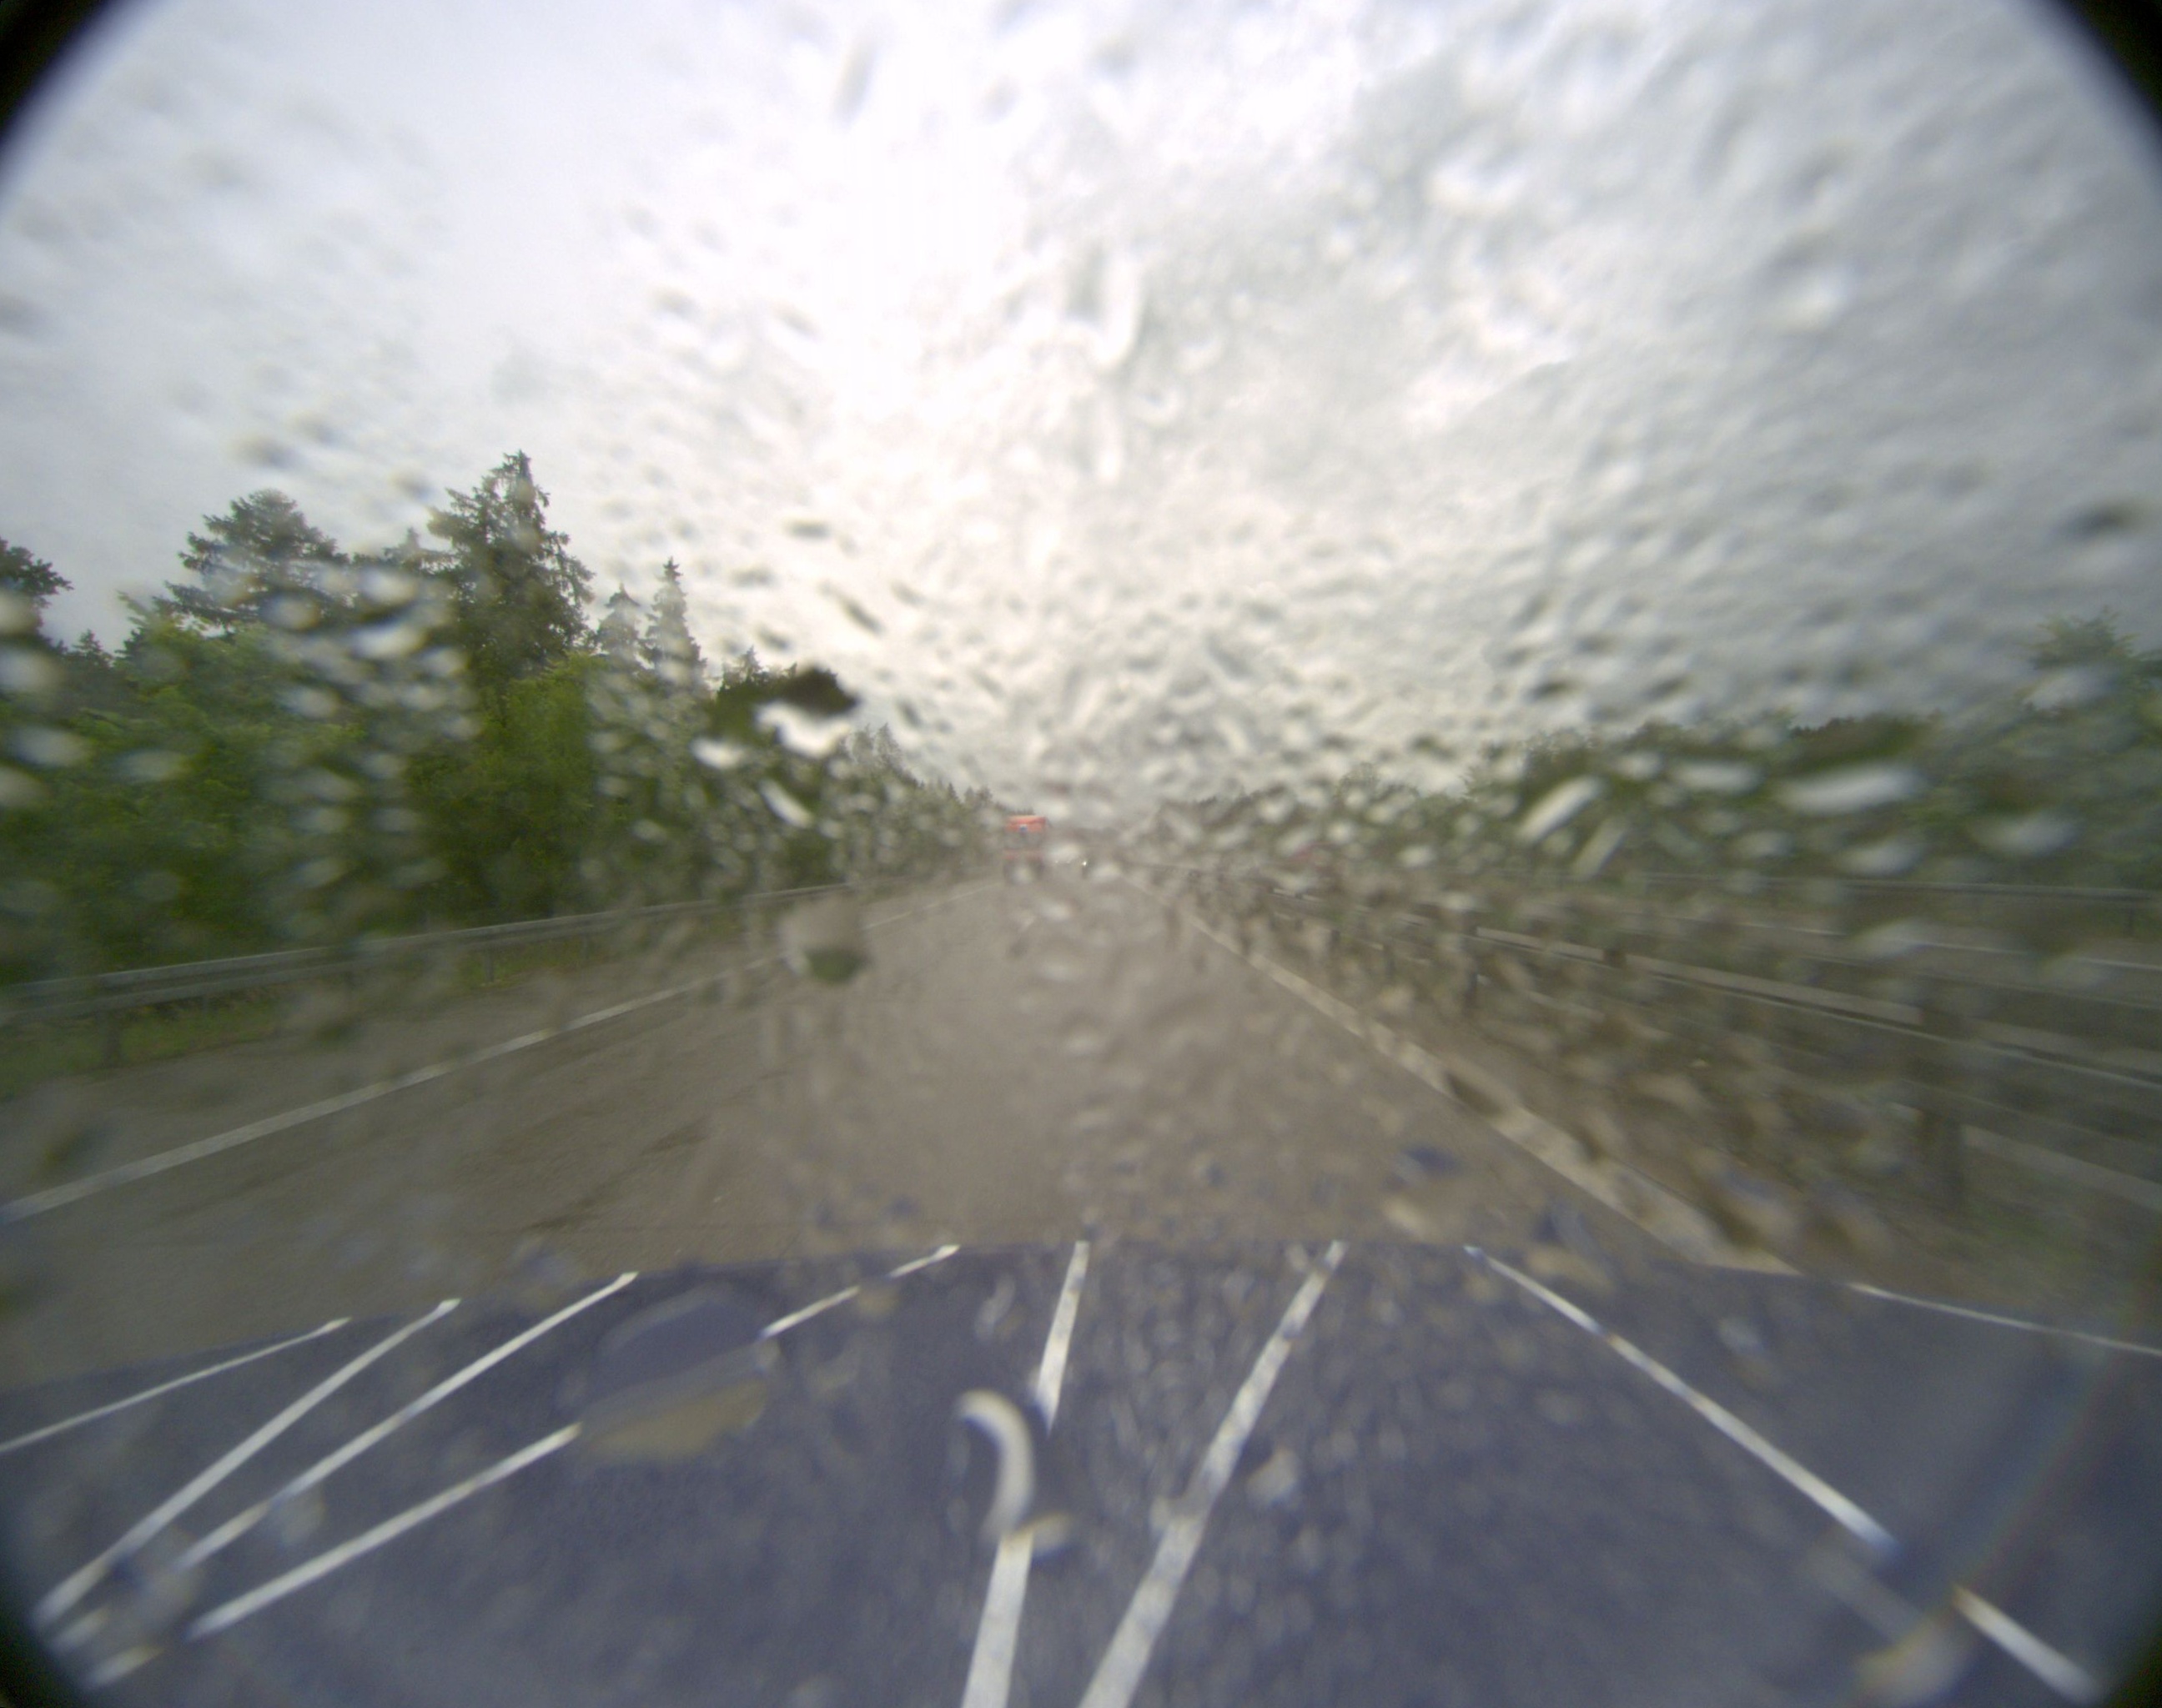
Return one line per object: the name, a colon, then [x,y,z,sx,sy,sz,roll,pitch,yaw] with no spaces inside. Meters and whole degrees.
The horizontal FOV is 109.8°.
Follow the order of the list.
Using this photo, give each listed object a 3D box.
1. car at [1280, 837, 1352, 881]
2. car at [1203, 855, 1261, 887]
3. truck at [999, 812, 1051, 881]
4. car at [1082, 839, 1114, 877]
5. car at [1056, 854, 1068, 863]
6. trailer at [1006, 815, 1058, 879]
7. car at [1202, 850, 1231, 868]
car: [11.866,0.250,38.704,1.998,2.052,5.313,1,0,0]
car: [7.525,0.791,38.187,1.998,1.474,4.557,1,0,0]
truck: [-3.421,-0.451,47.995,2.766,4.064,5.437,1,0,1]
car: [0.976,0.240,45.654,1.795,2.113,4.524,1,0,1]
car: [-2.642,0.571,105.136,1.496,1.188,3.669,1,0,1]
trailer: [-3.338,-0.436,55.466,2.801,4.132,13.005,1,0,1]
car: [11.626,0.423,65.278,1.754,1.427,3.918,1,0,0]
